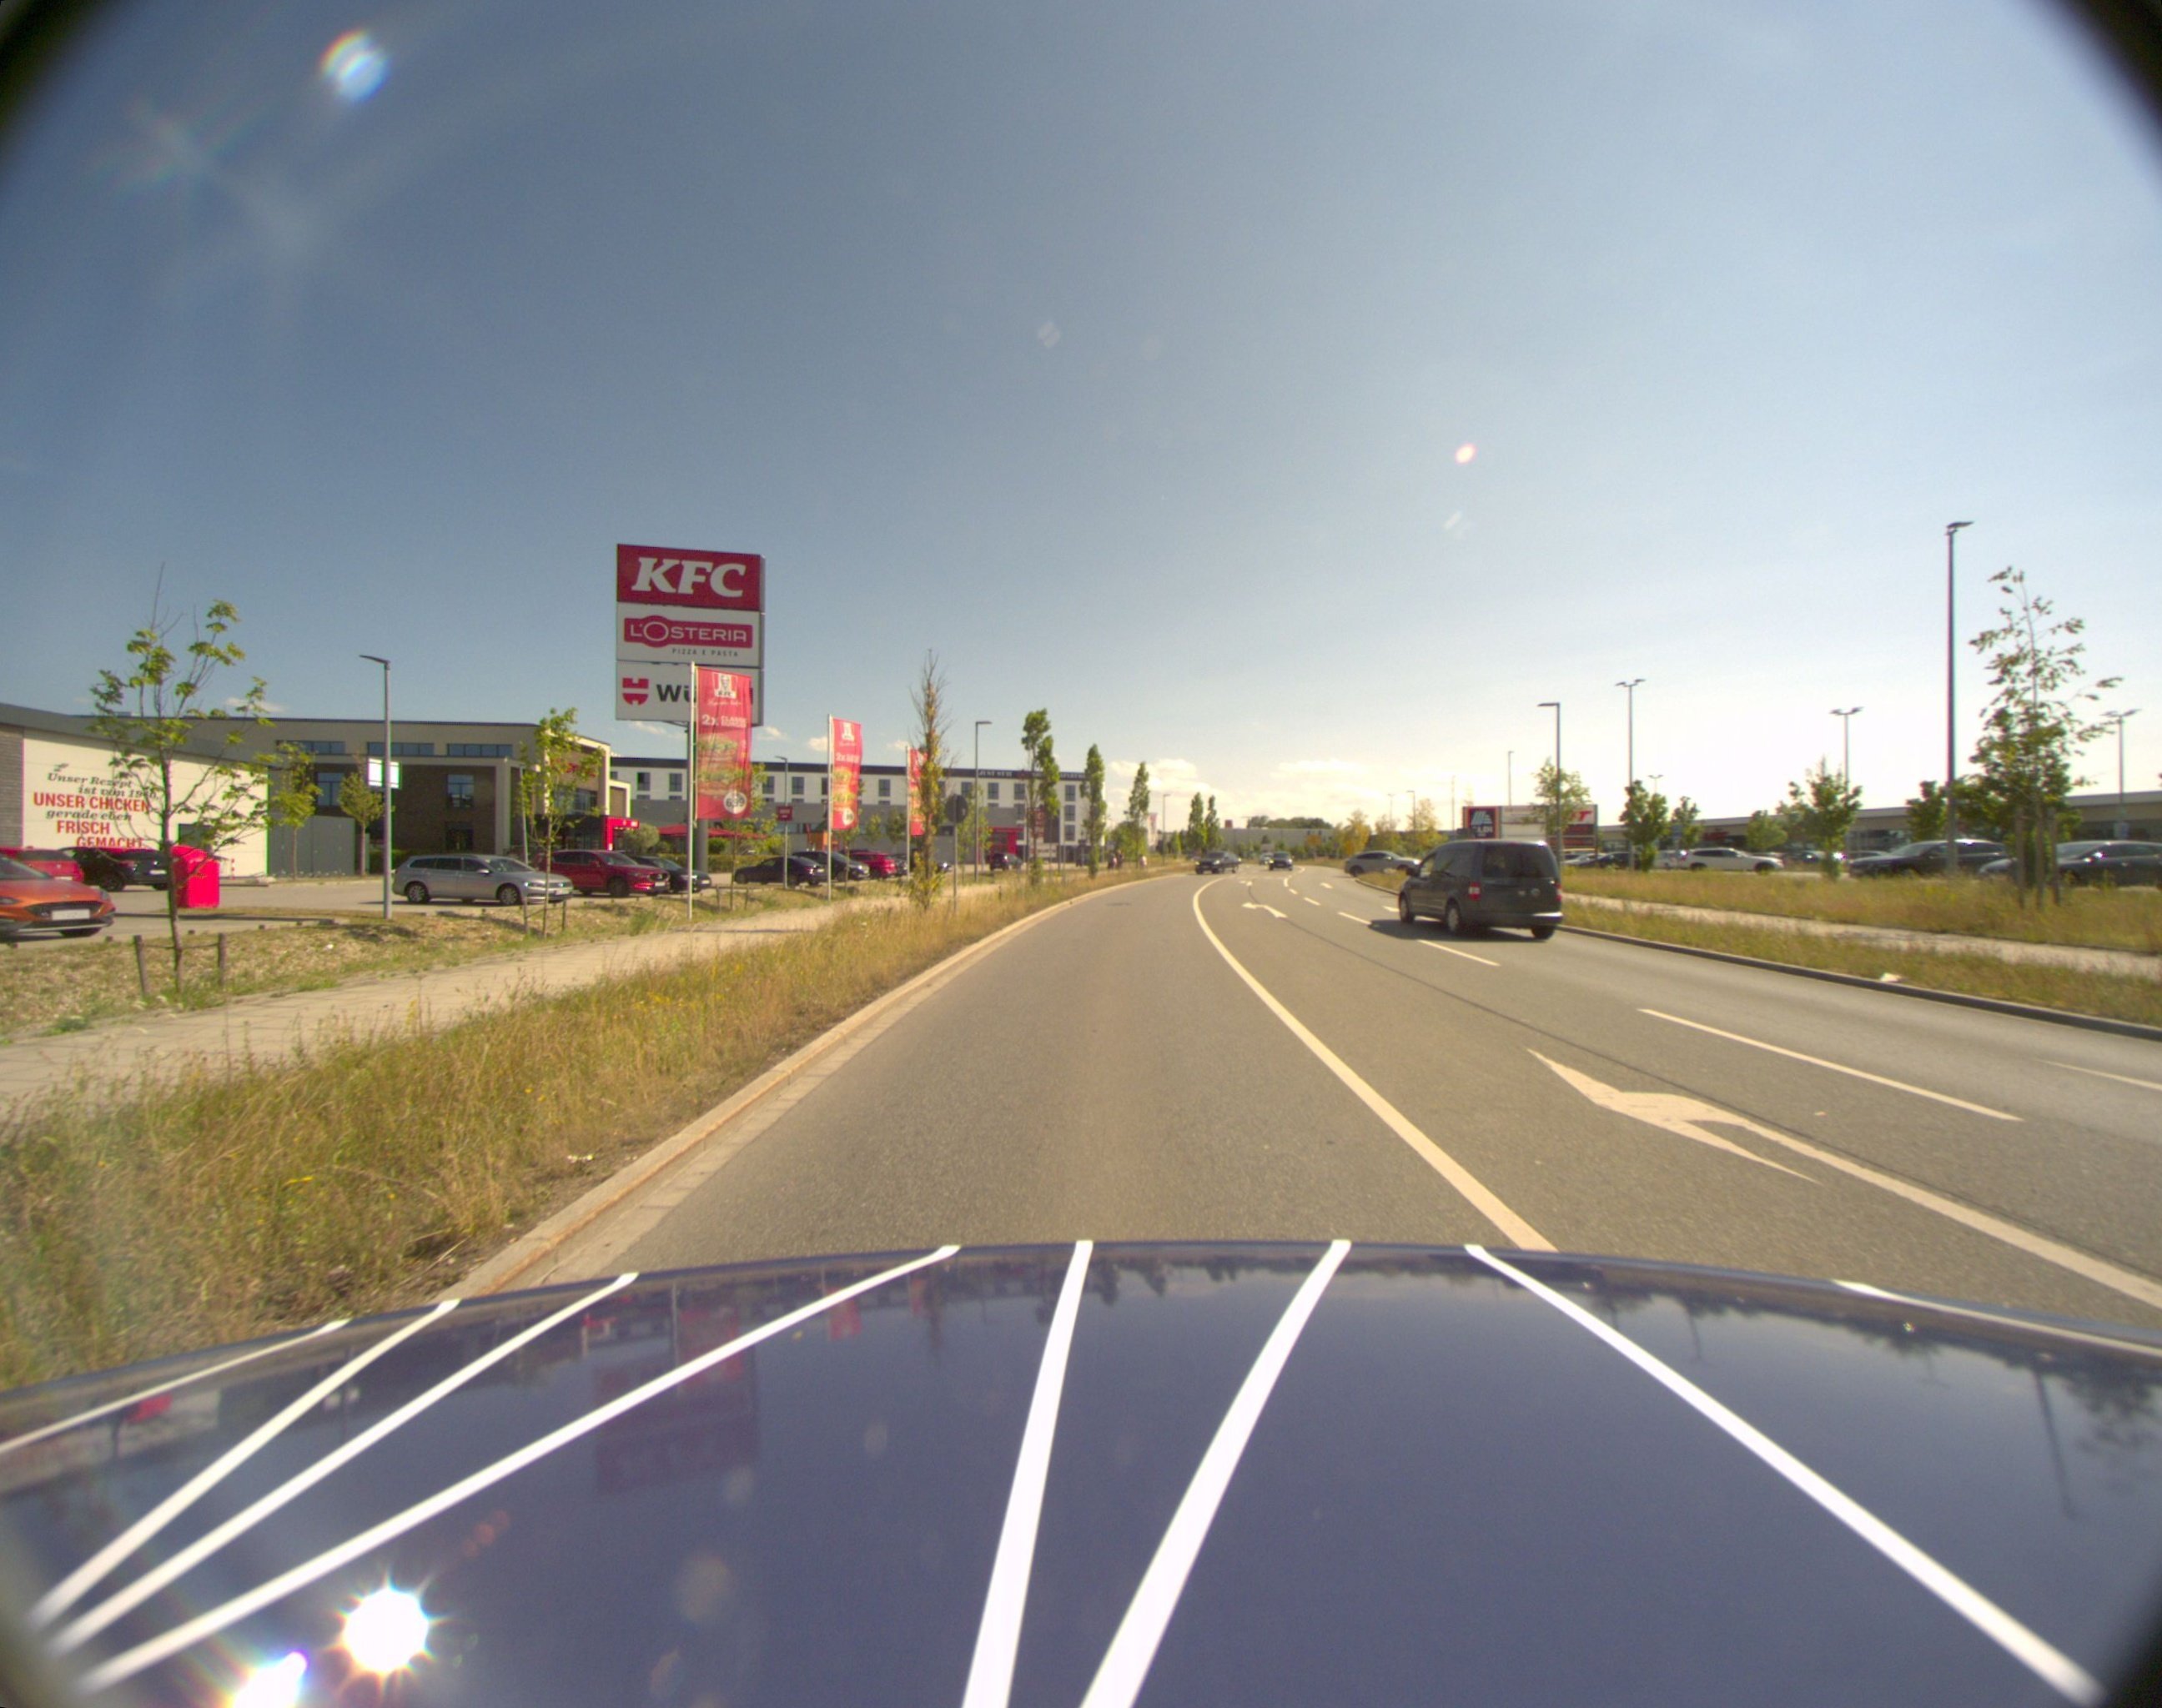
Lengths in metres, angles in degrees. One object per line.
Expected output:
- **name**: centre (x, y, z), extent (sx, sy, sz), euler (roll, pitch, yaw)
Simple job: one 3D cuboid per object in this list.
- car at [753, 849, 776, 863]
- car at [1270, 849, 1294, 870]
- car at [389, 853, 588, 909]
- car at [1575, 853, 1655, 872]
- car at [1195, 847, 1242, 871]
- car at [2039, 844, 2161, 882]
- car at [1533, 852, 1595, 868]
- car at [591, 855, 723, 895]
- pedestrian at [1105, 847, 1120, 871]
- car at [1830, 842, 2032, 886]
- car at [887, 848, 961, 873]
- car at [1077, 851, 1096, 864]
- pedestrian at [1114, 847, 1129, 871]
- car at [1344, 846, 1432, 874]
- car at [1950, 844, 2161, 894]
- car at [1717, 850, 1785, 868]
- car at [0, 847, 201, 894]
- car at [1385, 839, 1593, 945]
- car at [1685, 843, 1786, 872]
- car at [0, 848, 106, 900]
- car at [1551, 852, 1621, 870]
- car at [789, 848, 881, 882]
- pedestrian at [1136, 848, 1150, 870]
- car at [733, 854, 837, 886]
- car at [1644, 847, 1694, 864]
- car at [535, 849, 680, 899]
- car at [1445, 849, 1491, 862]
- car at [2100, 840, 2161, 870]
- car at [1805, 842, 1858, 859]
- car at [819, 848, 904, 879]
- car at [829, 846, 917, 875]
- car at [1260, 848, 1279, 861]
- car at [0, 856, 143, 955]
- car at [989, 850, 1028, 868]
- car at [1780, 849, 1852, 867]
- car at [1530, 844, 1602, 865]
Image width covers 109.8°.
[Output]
- **car**: centre (-33.327, 0.156, 80.176), extent (1.703, 1.454, 4.103), euler (0, 0, -15)
- **car**: centre (16.865, 0.451, 63.626), extent (1.754, 1.678, 4.387), euler (0, 0, 18)
- **car**: centre (-17.239, 0.754, 22.231), extent (4.564, 1.481, 1.870), euler (1, 0, 6)
- **car**: centre (37.505, 0.580, 53.465), extent (4.149, 1.340, 1.939), euler (0, 0, 16)
- **car**: centre (10.086, 0.395, 55.676), extent (1.897, 1.669, 4.476), euler (-1, -2, 31)
- **car**: centre (43.218, 0.334, 31.319), extent (1.837, 1.503, 4.380), euler (0, 0, -3)
- **car**: centre (41.719, 0.492, 65.693), extent (4.149, 1.340, 1.939), euler (0, 0, 16)
- **car**: centre (-16.383, 0.789, 29.486), extent (4.163, 1.441, 1.792), euler (1, 0, 4)
- **pedestrian**: centre (2.174, 0.344, 52.336), extent (0.810, 1.619, 0.867), euler (-1, 1, 16)
- **car**: centre (29.823, 0.332, 26.815), extent (4.583, 1.450, 1.839), euler (0, 1, 11)
- **car**: centre (-10.555, 0.441, 51.257), extent (4.413, 1.557, 1.997), euler (1, 0, 11)
- **car**: centre (0.614, 0.388, 87.291), extent (1.516, 1.399, 4.003), euler (0, 0, 10)
- **pedestrian**: centre (2.761, 0.362, 51.800), extent (0.802, 1.620, 0.806), euler (-1, 1, 16)
- **car**: centre (19.615, 0.428, 48.652), extent (4.764, 1.633, 2.121), euler (-2, -2, 40)
- **car**: centre (28.401, 0.402, 21.707), extent (4.431, 1.375, 1.977), euler (0, 1, 11)
- **car**: centre (56.510, 0.411, 64.209), extent (1.717, 1.540, 4.352), euler (0, 0, -5)
- **car**: centre (-32.285, 0.536, 24.823), extent (4.569, 1.423, 1.868), euler (1, 0, -5)
- **car**: centre (7.902, 0.657, 15.292), extent (1.955, 1.784, 4.427), euler (1, 0, 3)
- **car**: centre (36.598, 0.196, 42.591), extent (4.213, 1.538, 1.921), euler (0, 1, 40)
- **car**: centre (-32.078, 0.539, 22.146), extent (4.569, 1.423, 1.868), euler (1, 0, -5)
- **car**: centre (38.899, 0.545, 58.627), extent (4.149, 1.340, 1.939), euler (0, 0, 16)
- **car**: centre (-13.359, 0.571, 41.331), extent (4.412, 1.724, 1.793), euler (1, 0, 13)
- **pedestrian**: centre (4.272, 0.326, 52.161), extent (0.794, 1.461, 0.950), euler (-1, 1, 16)
- **car**: centre (-14.233, 0.739, 36.621), extent (4.412, 1.441, 1.793), euler (1, 0, 12)
- **car**: centre (63.638, 0.148, 82.334), extent (1.716, 1.731, 4.583), euler (0, 0, -2)
- **car**: centre (-16.711, 0.677, 26.905), extent (4.161, 1.655, 1.870), euler (1, 0, 10)
- **car**: centre (47.222, 0.178, 92.743), extent (4.598, 1.662, 2.001), euler (0, 0, 8)
- **car**: centre (71.536, 0.053, 50.486), extent (1.717, 1.947, 4.352), euler (0, 0, -5)
- **car**: centre (78.651, -0.354, 79.664), extent (4.355, 1.797, 1.716), euler (0, 0, -9)
- **car**: centre (-12.782, 0.550, 44.341), extent (4.412, 1.724, 1.793), euler (1, 0, 13)
- **car**: centre (-13.023, 0.412, 47.725), extent (4.990, 1.724, 1.941), euler (1, 0, 11)
- **car**: centre (23.038, 0.070, 92.988), extent (1.905, 1.502, 4.003), euler (0, 1, 9)
- **car**: centre (-18.510, 0.779, 12.402), extent (4.214, 1.481, 1.869), euler (1, 0, 2)
- **car**: centre (-6.022, 0.395, 63.822), extent (1.782, 1.531, 4.174), euler (0, 0, 17)
- **car**: centre (62.274, 0.330, 64.479), extent (1.717, 1.523, 4.352), euler (0, 0, -5)
- **car**: centre (47.690, 0.047, 74.812), extent (5.692, 1.953, 2.001), euler (0, 0, 6)
